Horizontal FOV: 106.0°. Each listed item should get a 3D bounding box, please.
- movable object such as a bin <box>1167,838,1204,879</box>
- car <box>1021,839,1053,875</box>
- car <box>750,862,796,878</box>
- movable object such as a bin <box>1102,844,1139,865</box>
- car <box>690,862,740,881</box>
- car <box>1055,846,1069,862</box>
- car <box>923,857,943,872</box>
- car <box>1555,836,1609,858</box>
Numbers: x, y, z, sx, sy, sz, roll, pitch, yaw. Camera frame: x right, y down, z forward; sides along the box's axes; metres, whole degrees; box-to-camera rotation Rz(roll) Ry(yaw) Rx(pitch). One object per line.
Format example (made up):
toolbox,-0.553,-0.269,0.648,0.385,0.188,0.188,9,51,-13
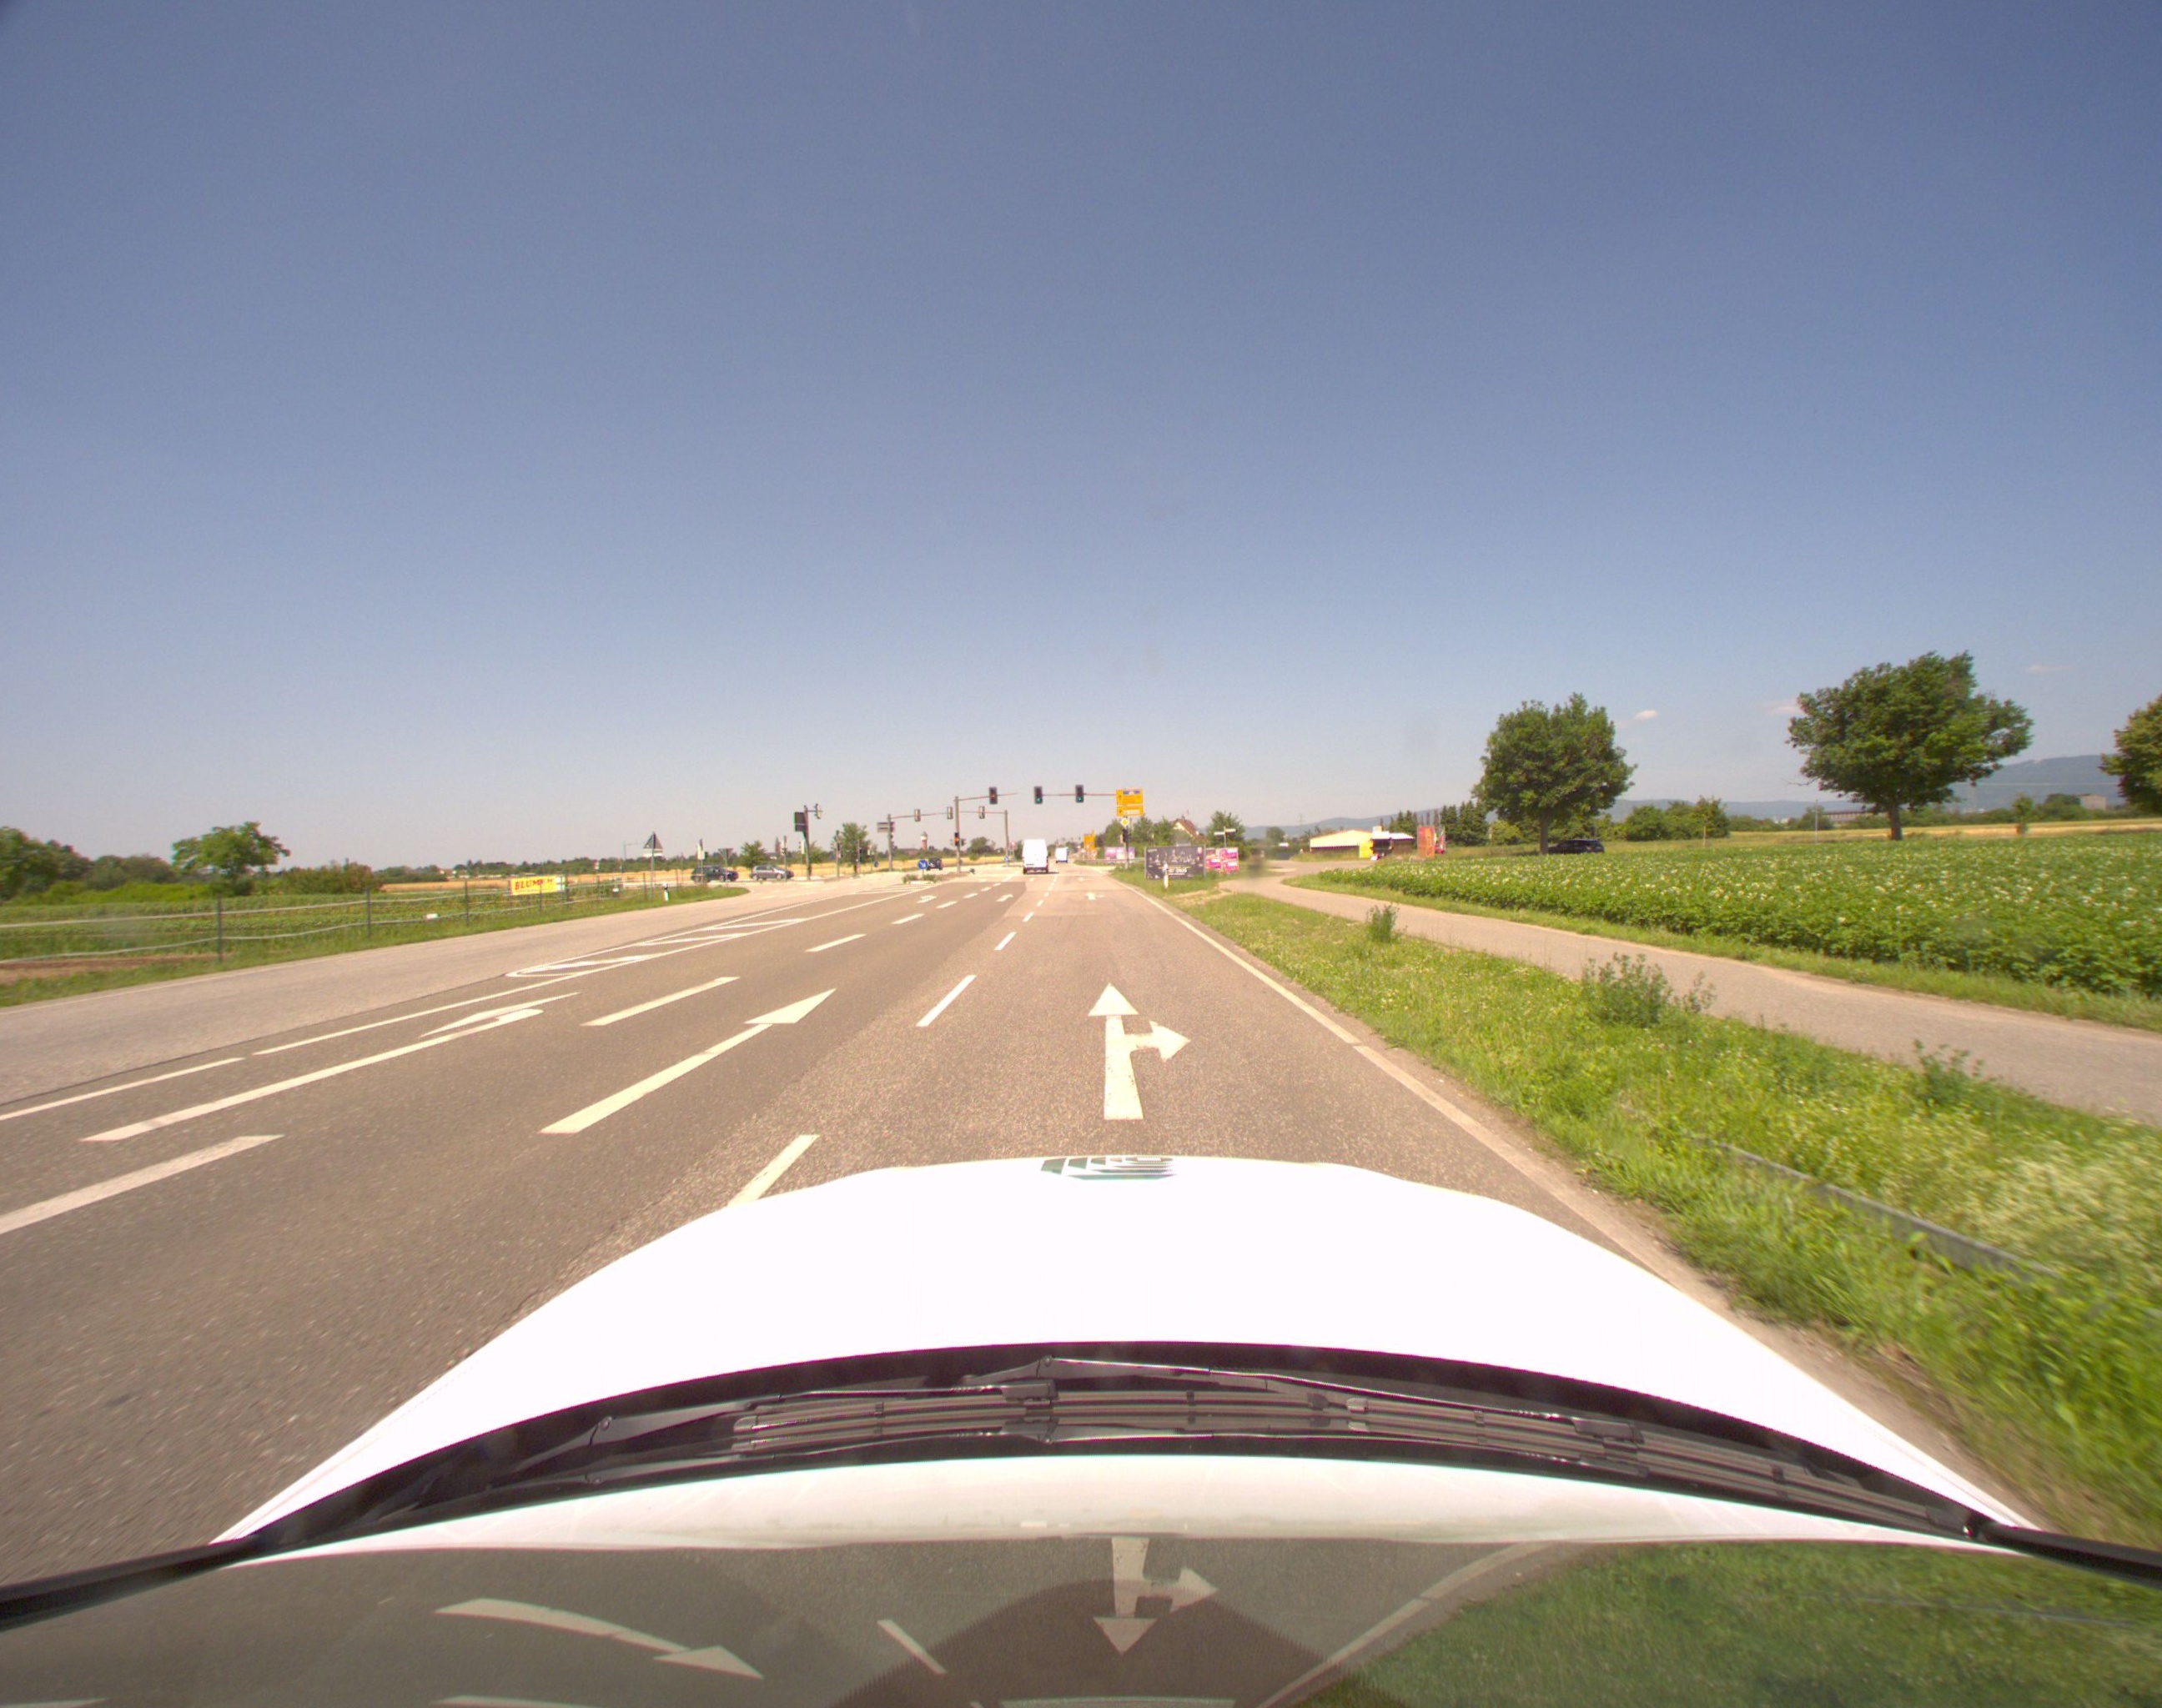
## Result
movable object such as a bin,6.374,0.279,49.389,1.510,2.363,4.444,-1,-1,17
car,-3.444,0.210,64.288,2.032,2.620,5.742,-1,0,1
car,-29.897,1.576,78.995,3.842,1.387,1.640,-2,1,12
movable object such as a bin,4.526,0.095,93.652,4.088,2.331,1.275,0,-1,-6
car,-36.109,1.730,80.342,4.324,1.594,1.641,-3,0,14
car,-3.184,0.035,139.006,1.986,2.695,4.972,0,-1,2
car,-17.711,1.251,97.494,1.827,1.600,4.297,-3,0,-5
car,37.317,-0.520,60.780,1.749,1.527,3.887,-2,0,3
